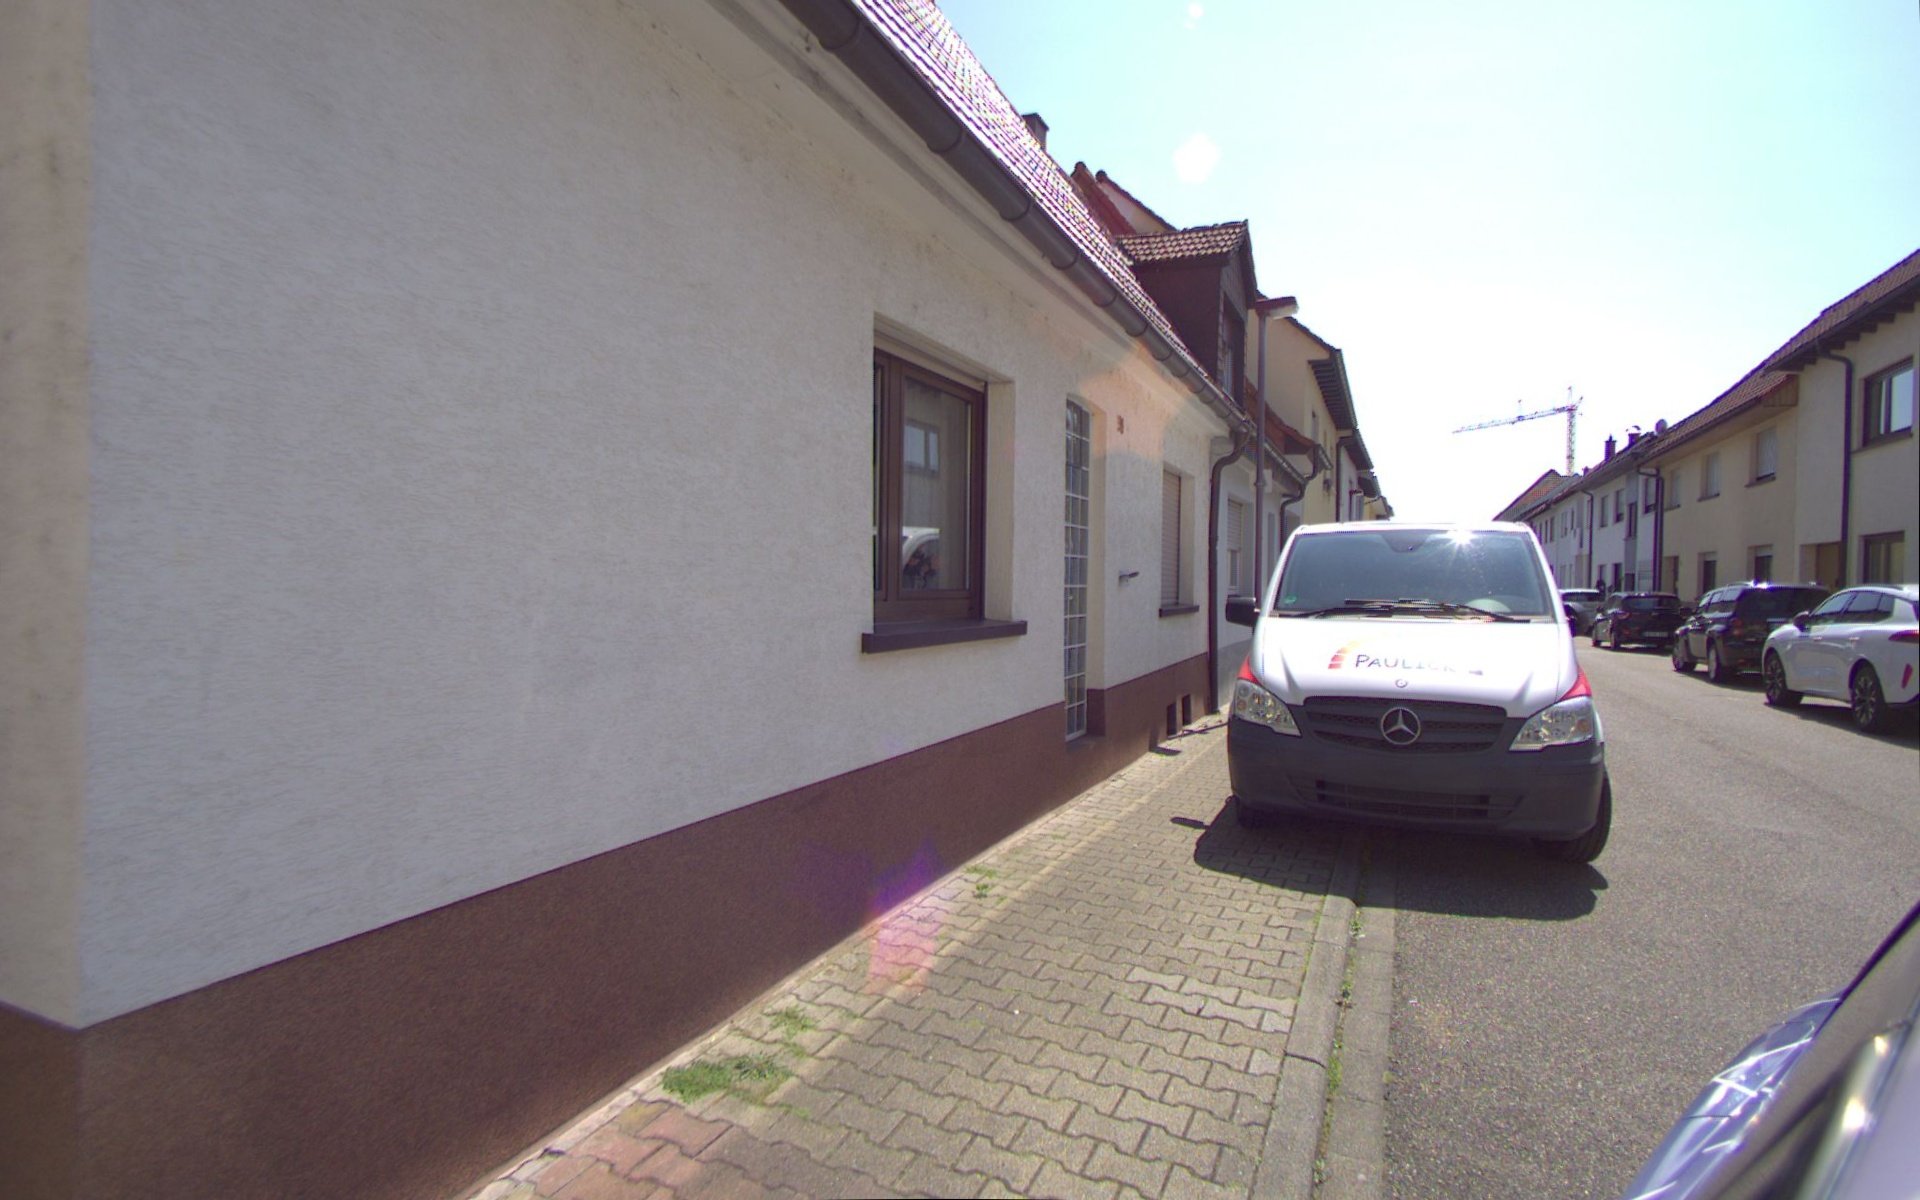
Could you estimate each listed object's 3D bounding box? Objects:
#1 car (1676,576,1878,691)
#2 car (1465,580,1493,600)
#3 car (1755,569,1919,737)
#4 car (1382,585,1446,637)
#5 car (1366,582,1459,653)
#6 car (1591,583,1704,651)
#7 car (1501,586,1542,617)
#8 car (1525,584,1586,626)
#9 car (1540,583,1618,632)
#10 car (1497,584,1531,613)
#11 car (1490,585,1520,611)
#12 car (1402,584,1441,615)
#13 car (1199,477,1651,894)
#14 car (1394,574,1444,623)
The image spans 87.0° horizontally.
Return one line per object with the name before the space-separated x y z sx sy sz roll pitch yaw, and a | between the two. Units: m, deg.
car | 13.547 0.454 17.056 1.711 1.635 3.954 3 2 26
car | 44.228 -0.883 86.300 1.800 1.627 3.856 3 2 24
car | 10.944 0.511 11.525 1.759 1.635 4.317 3 2 22
car | 13.825 0.265 30.973 1.683 1.453 4.071 0 1 23
car | 10.615 0.323 23.918 1.824 1.466 4.739 0 1 23
car | 17.649 0.364 26.157 1.627 1.556 3.912 2 2 23
car | 29.199 0.055 52.712 1.591 1.460 3.186 3 1 25
car | 24.199 0.161 41.202 1.650 1.560 3.659 2 2 24
car | 22.087 0.215 36.249 1.648 1.568 3.915 2 2 21
car | 31.219 -0.105 57.066 1.401 1.547 2.999 3 2 25
car | 33.256 -0.145 61.805 1.401 1.473 3.432 3 2 25
car | 22.846 -0.058 50.171 1.650 1.432 4.214 3 2 24
car | 3.236 0.326 7.328 1.997 1.862 5.222 0 1 24
car | 18.427 -0.118 40.728 1.684 1.799 4.167 1 2 24
